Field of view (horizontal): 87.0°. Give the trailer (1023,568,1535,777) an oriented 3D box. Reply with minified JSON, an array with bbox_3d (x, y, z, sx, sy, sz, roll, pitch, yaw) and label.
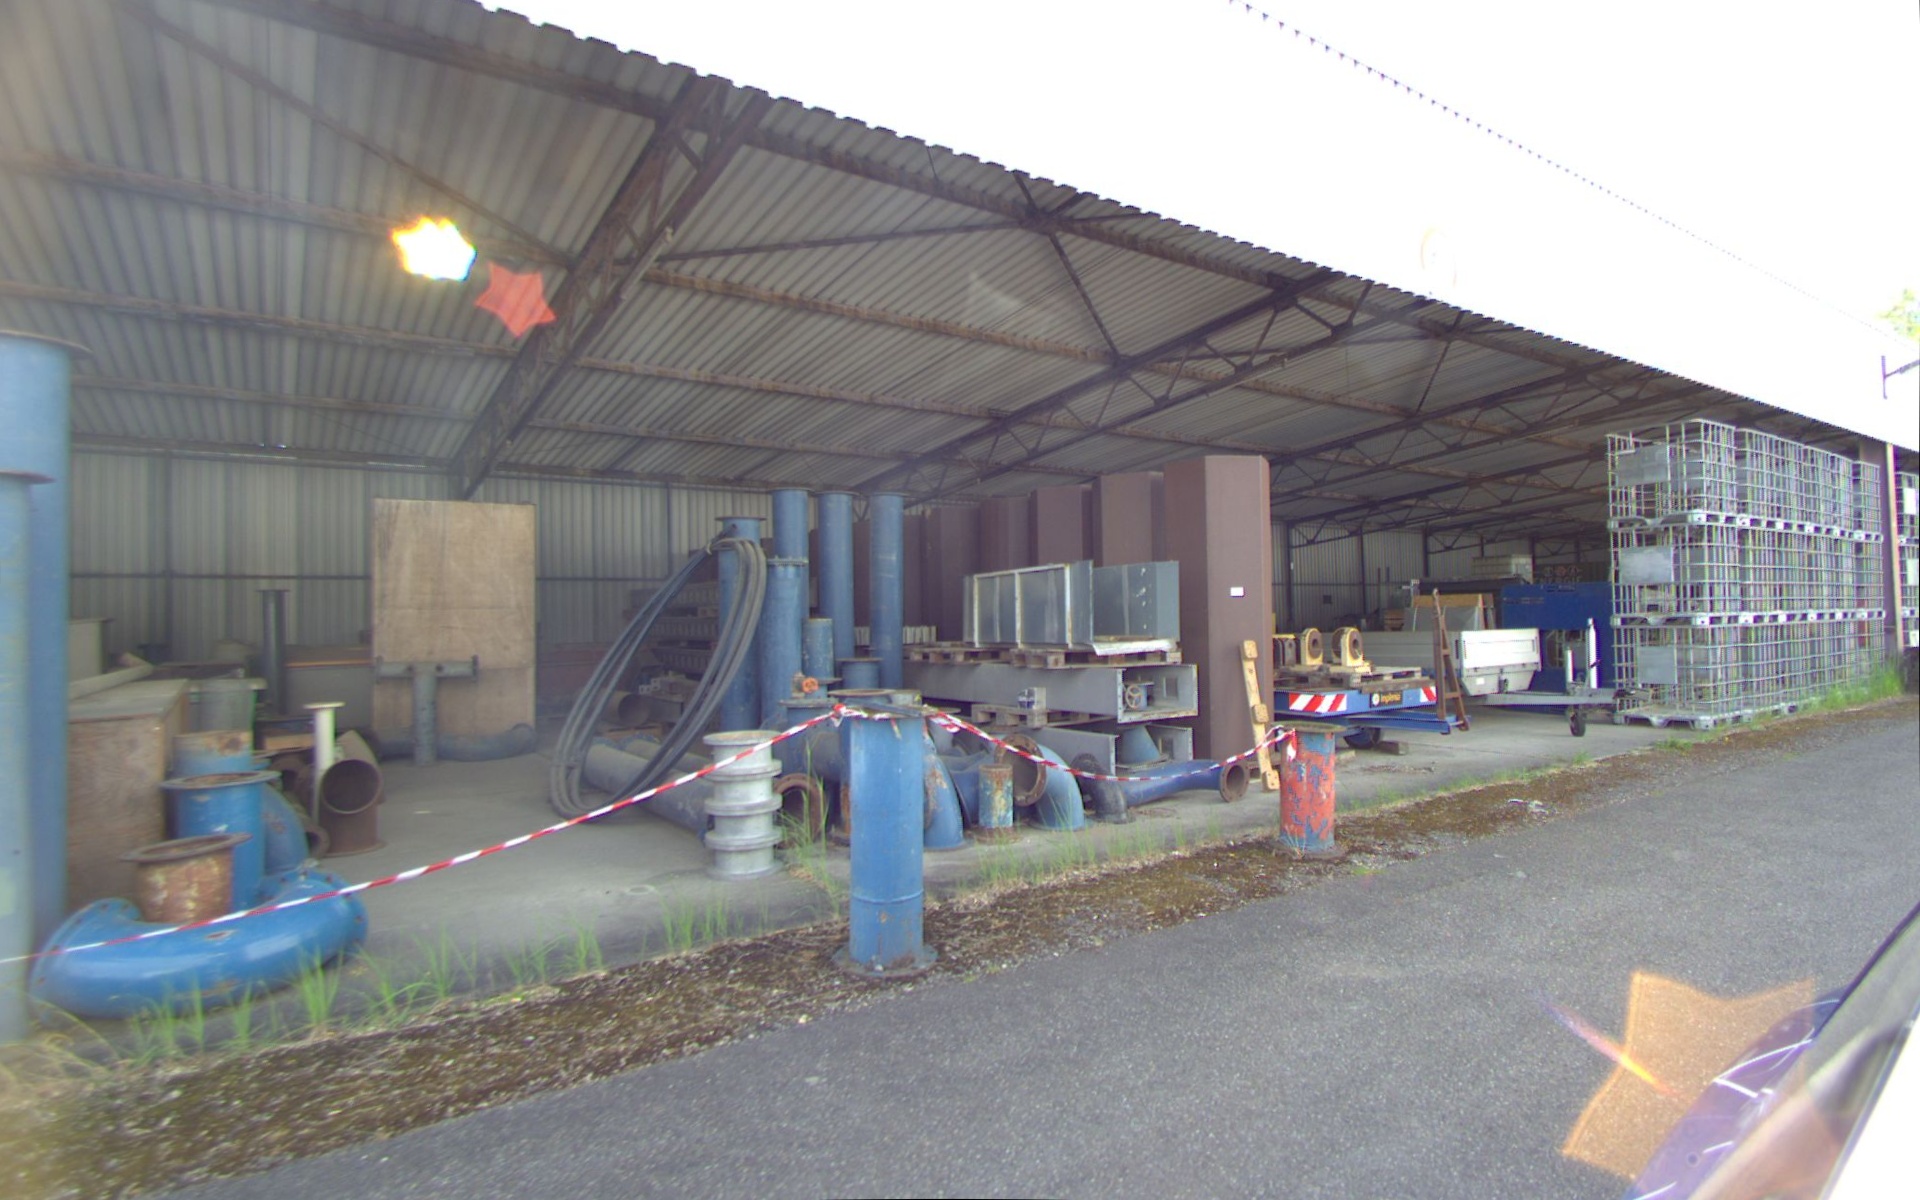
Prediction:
[{"bbox_3d":[2.970,0.608,10.566,1.991,1.649,4.881,0,-1,-35],"label":"trailer"}]

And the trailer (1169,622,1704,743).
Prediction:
[{"bbox_3d":[5.496,0.857,12.689,1.991,1.134,5.839,0,-1,-35],"label":"trailer"}]
